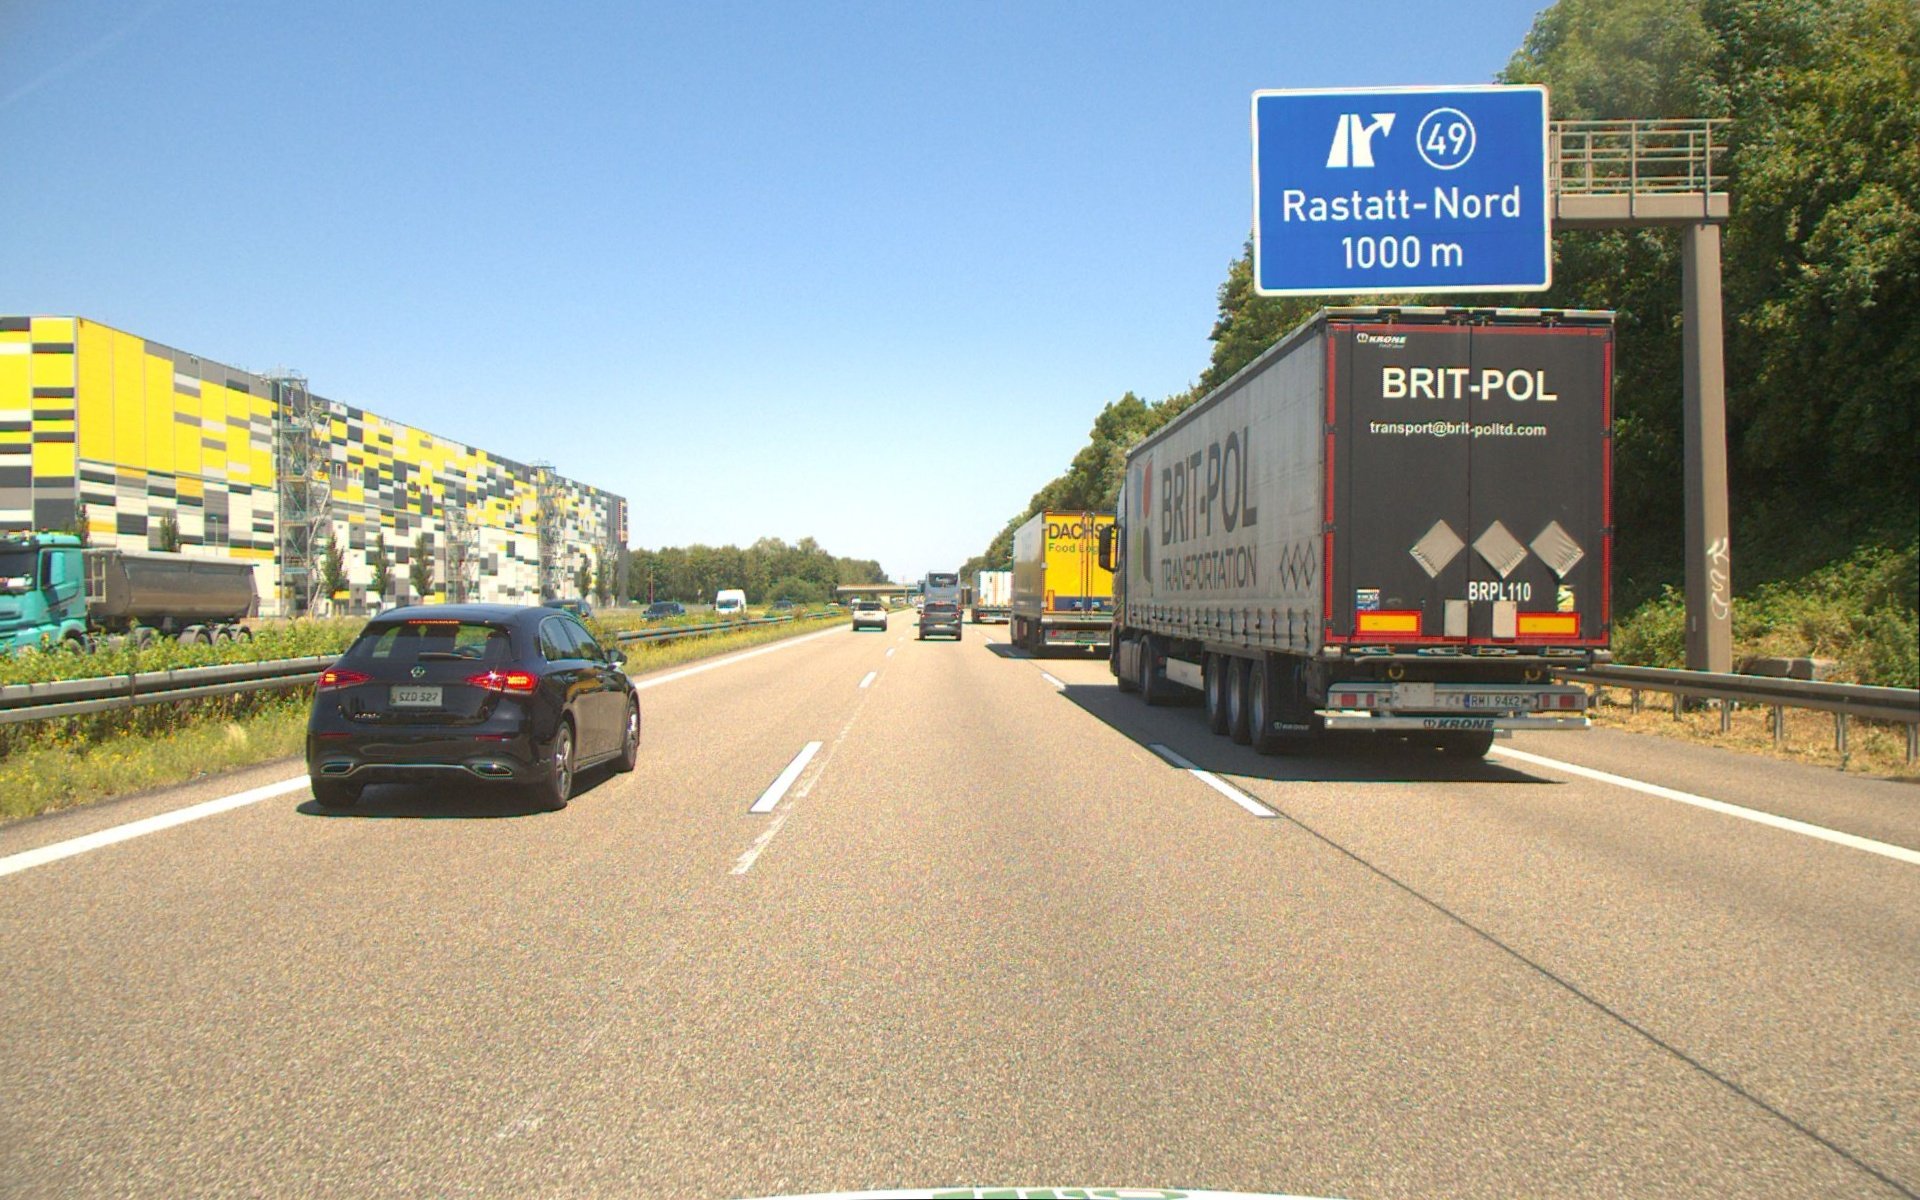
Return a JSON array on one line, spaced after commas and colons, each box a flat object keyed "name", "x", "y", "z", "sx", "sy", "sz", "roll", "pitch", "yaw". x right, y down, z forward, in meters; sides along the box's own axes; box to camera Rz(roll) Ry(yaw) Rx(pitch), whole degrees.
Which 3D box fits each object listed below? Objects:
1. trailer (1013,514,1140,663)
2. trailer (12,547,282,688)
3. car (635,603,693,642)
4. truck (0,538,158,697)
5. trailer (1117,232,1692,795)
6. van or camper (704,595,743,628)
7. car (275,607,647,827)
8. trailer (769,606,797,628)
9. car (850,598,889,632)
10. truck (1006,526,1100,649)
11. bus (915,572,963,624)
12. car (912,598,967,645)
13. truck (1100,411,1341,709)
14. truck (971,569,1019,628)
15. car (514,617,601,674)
[{"name": "trailer", "x": 3.353, "y": -0.322, "z": 50.603, "sx": 2.777, "sy": 4.023, "sz": 11.680, "roll": 0, "pitch": 0, "yaw": -1}, {"name": "trailer", "x": -20.881, "y": 0.451, "z": 43.260, "sx": 2.621, "sy": 3.294, "sz": 9.256, "roll": 0, "pitch": -1, "yaw": -1}, {"name": "car", "x": -14.285, "y": 1.074, "z": 80.188, "sx": 1.986, "sy": 1.809, "sz": 4.841, "roll": -1, "pitch": 0, "yaw": -1}, {"name": "truck", "x": -20.818, "y": 0.410, "z": 37.340, "sx": 2.643, "sy": 3.307, "sz": 5.836, "roll": -1, "pitch": -1, "yaw": -1}, {"name": "trailer", "x": 4.369, "y": -0.657, "z": 21.027, "sx": 3.043, "sy": 4.586, "sz": 14.892, "roll": 1, "pitch": 0, "yaw": -1}, {"name": "van or camper", "x": -19.153, "y": 0.938, "z": 133.931, "sx": 2.373, "sy": 2.578, "sz": 6.173, "roll": -2, "pitch": -1, "yaw": -2}, {"name": "car", "x": -3.664, "y": 0.778, "z": 12.909, "sx": 1.756, "sy": 1.436, "sz": 4.051, "roll": 0, "pitch": 0, "yaw": -2}, {"name": "trailer", "x": -15.103, "y": 1.401, "z": 141.119, "sx": 1.953, "sy": 1.789, "sz": 4.855, "roll": -1, "pitch": 0, "yaw": -2}, {"name": "car", "x": -4.770, "y": 0.804, "z": 87.824, "sx": 1.953, "sy": 1.758, "sz": 4.129, "roll": 0, "pitch": 0, "yaw": -2}, {"name": "truck", "x": 3.170, "y": -0.398, "z": 58.171, "sx": 2.756, "sy": 4.077, "sz": 6.642, "roll": 0, "pitch": 0, "yaw": -2}, {"name": "bus", "x": -1.504, "y": -0.125, "z": 114.294, "sx": 3.001, "sy": 3.385, "sz": 8.270, "roll": -1, "pitch": 0, "yaw": -2}, {"name": "car", "x": -0.861, "y": 0.868, "z": 68.529, "sx": 2.171, "sy": 1.821, "sz": 5.391, "roll": -1, "pitch": 0, "yaw": -1}, {"name": "truck", "x": 4.238, "y": -0.583, "z": 28.275, "sx": 3.025, "sy": 4.519, "sz": 6.051, "roll": 1, "pitch": -1, "yaw": -1}, {"name": "truck", "x": 2.619, "y": -0.109, "z": 125.958, "sx": 3.353, "sy": 4.198, "sz": 9.563, "roll": -1, "pitch": 0, "yaw": 0}, {"name": "car", "x": -13.543, "y": 1.492, "z": 55.853, "sx": 1.831, "sy": 1.773, "sz": 4.721, "roll": -1, "pitch": 0, "yaw": -1}]
